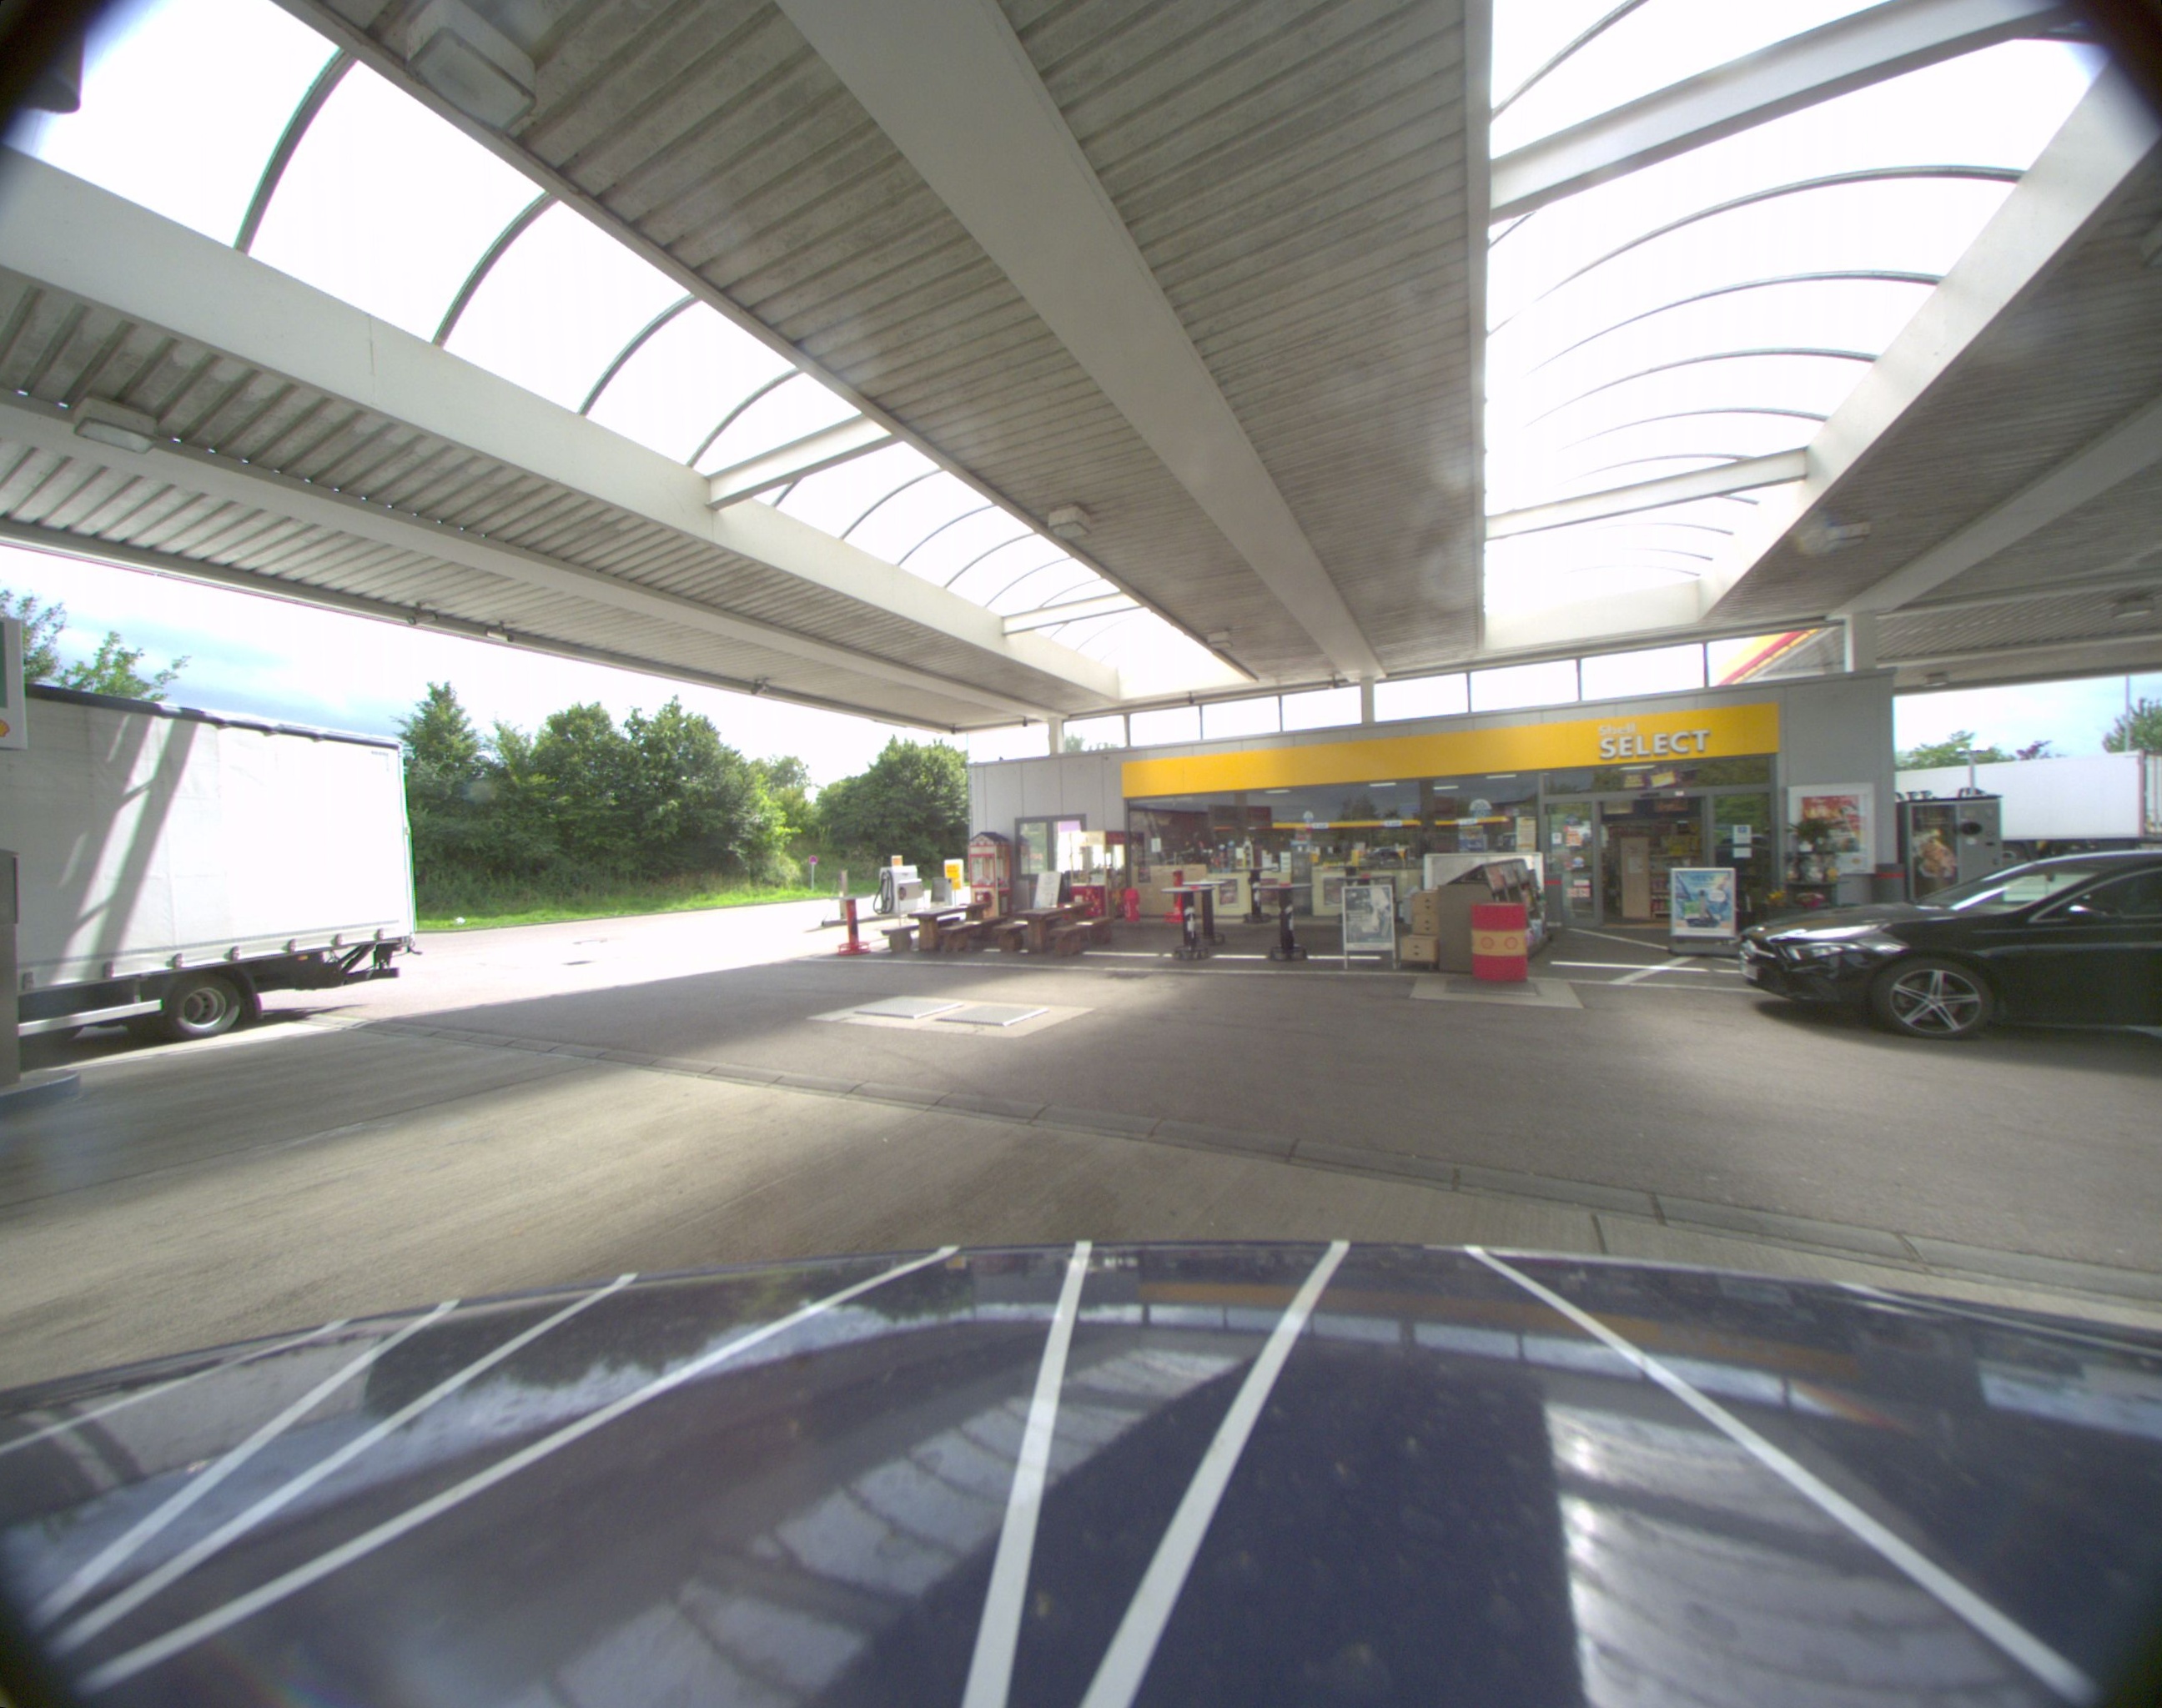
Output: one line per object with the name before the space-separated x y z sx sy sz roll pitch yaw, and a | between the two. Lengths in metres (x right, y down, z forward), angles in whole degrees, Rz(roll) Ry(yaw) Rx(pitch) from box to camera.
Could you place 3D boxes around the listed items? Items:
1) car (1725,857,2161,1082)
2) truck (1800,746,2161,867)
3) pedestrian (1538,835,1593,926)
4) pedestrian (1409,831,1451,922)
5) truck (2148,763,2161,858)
car | 8.164 0.812 5.956 4.461 1.491 1.782 -2 1 28
truck | 35.114 -1.609 30.033 2.796 3.982 9.578 -2 1 -16
pedestrian | 9.442 0.500 14.809 0.628 1.703 0.621 -3 1 -23
pedestrian | 7.428 0.465 16.176 0.581 1.895 0.508 -3 1 -15
truck | 51.462 -2.034 33.114 3.383 4.479 6.239 -2 1 29
